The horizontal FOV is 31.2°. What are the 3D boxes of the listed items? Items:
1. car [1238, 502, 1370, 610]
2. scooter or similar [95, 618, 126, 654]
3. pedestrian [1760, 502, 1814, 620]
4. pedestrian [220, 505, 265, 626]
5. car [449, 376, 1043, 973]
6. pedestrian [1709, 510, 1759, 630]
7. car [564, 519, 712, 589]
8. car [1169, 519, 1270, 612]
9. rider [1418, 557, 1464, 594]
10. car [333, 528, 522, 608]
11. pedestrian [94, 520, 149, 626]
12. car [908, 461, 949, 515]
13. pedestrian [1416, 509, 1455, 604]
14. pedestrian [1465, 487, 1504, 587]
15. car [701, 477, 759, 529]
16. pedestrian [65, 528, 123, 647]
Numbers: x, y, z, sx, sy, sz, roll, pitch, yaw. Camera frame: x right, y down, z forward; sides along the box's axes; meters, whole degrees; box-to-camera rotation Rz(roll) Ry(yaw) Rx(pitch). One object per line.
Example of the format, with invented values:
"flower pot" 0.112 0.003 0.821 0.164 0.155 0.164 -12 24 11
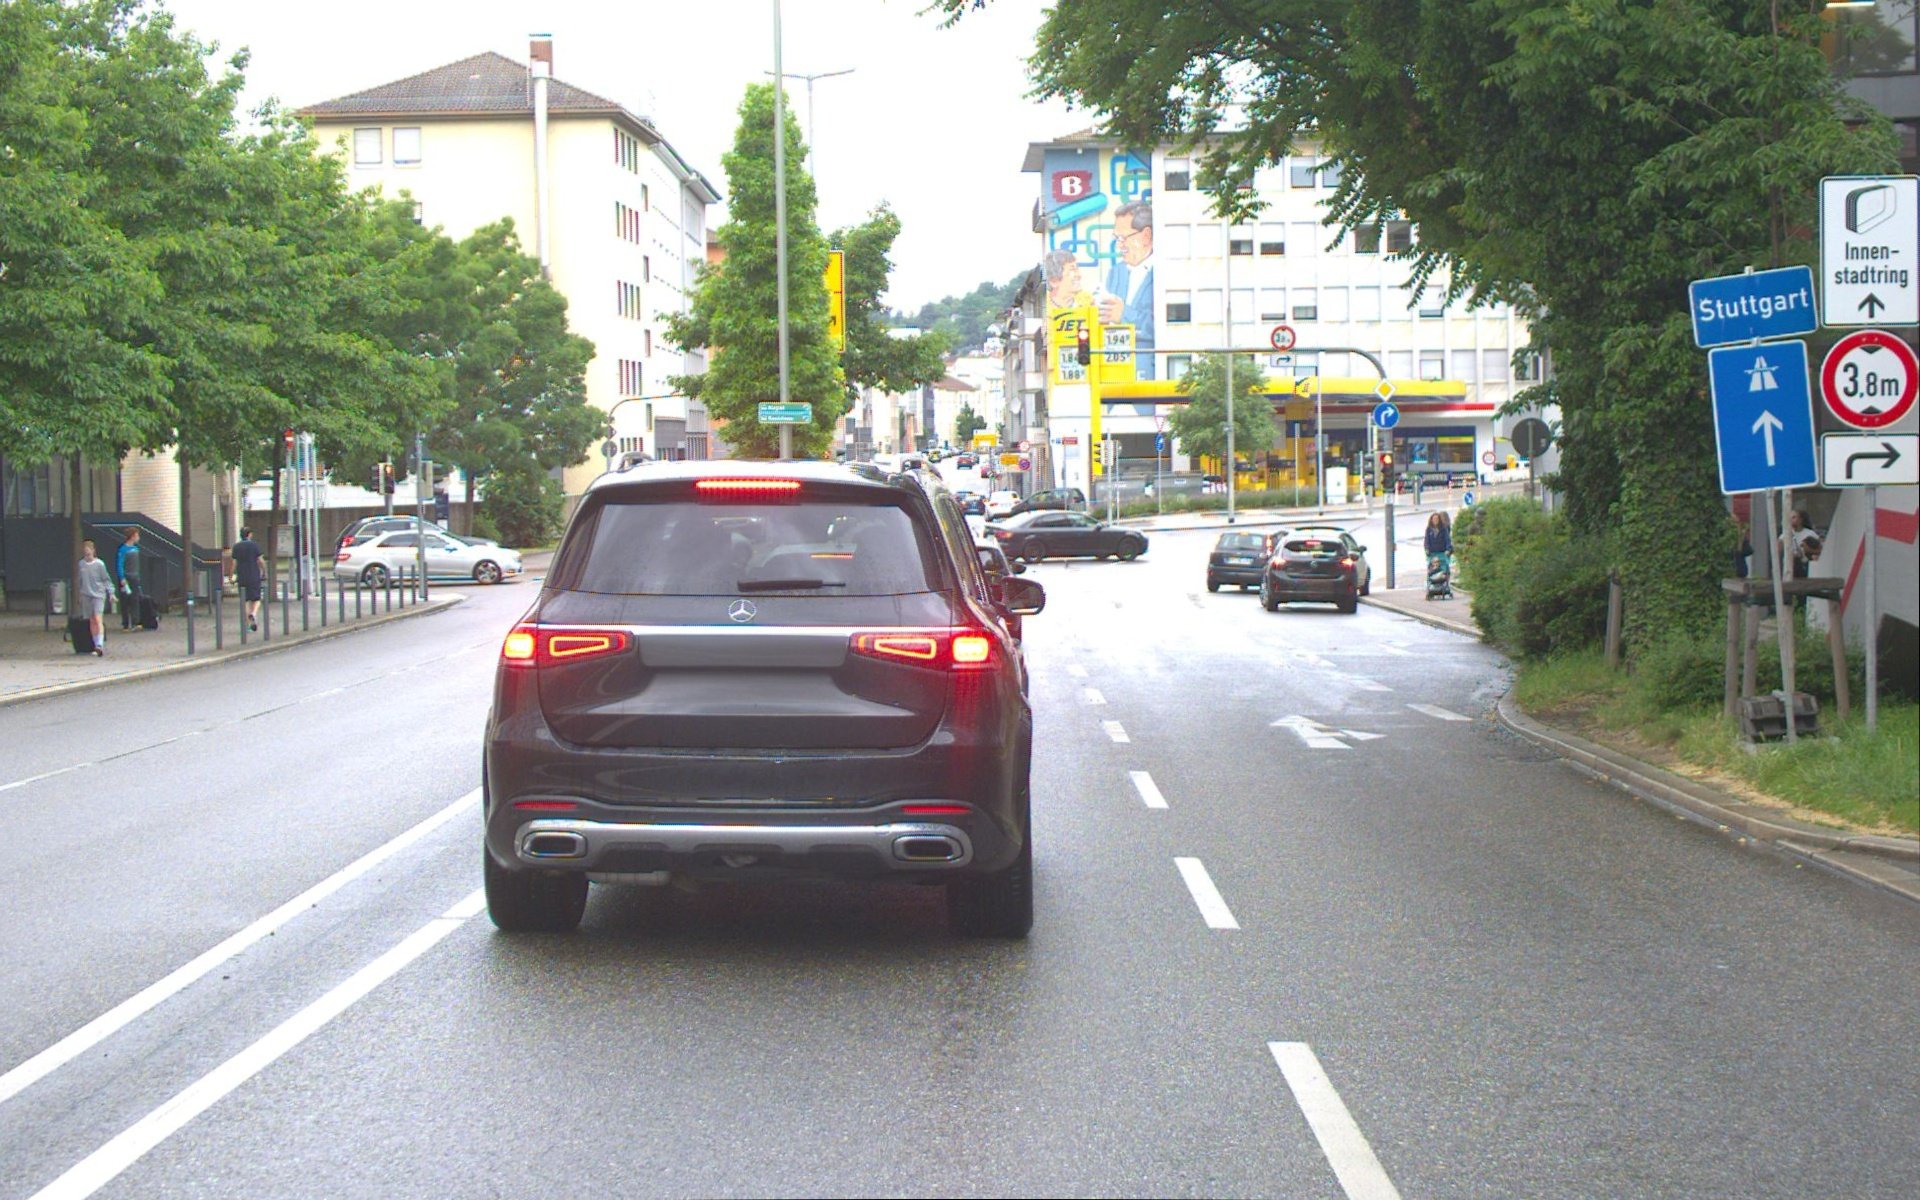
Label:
"car" 6.546 -0.868 65.799 1.993 2.007 4.001 0 1 -1
"scooter or similar" -12.287 0.521 49.745 0.280 0.499 0.616 1 0 0
"pedestrian" 10.627 -0.496 44.180 0.582 1.496 0.504 1 0 6
"pedestrian" -12.026 -0.579 57.638 0.587 2.007 0.749 1 0 -1
"car" -0.765 0.240 13.768 1.993 2.007 4.000 1 0 -1
"pedestrian" 9.962 -0.382 44.252 0.551 1.527 0.488 1 0 7
"car" -9.190 -1.311 98.023 3.986 1.936 2.001 -1 1 -11
"car" 5.827 -0.776 77.622 1.993 2.007 4.000 1 0 1
"rider" 9.718 -0.493 69.414 0.632 0.737 0.694 1 0 41
"car" -13.815 -0.856 89.425 4.803 2.006 2.001 -1 2 -7
"pedestrian" -13.824 -0.445 56.672 0.688 1.719 0.754 1 -1 -1
"car" -1.614 -5.615 172.551 1.993 2.005 4.004 1 12 -1
"pedestrian" 9.692 -0.888 70.033 0.663 1.911 0.728 1 0 14
"pedestrian" 10.248 -1.221 67.154 0.620 1.929 0.610 1 0 -1
"car" -8.883 -3.755 133.354 1.993 1.868 5.142 1 0 -1
"pedestrian" -12.426 -0.178 49.332 0.676 1.691 0.479 1 1 0
